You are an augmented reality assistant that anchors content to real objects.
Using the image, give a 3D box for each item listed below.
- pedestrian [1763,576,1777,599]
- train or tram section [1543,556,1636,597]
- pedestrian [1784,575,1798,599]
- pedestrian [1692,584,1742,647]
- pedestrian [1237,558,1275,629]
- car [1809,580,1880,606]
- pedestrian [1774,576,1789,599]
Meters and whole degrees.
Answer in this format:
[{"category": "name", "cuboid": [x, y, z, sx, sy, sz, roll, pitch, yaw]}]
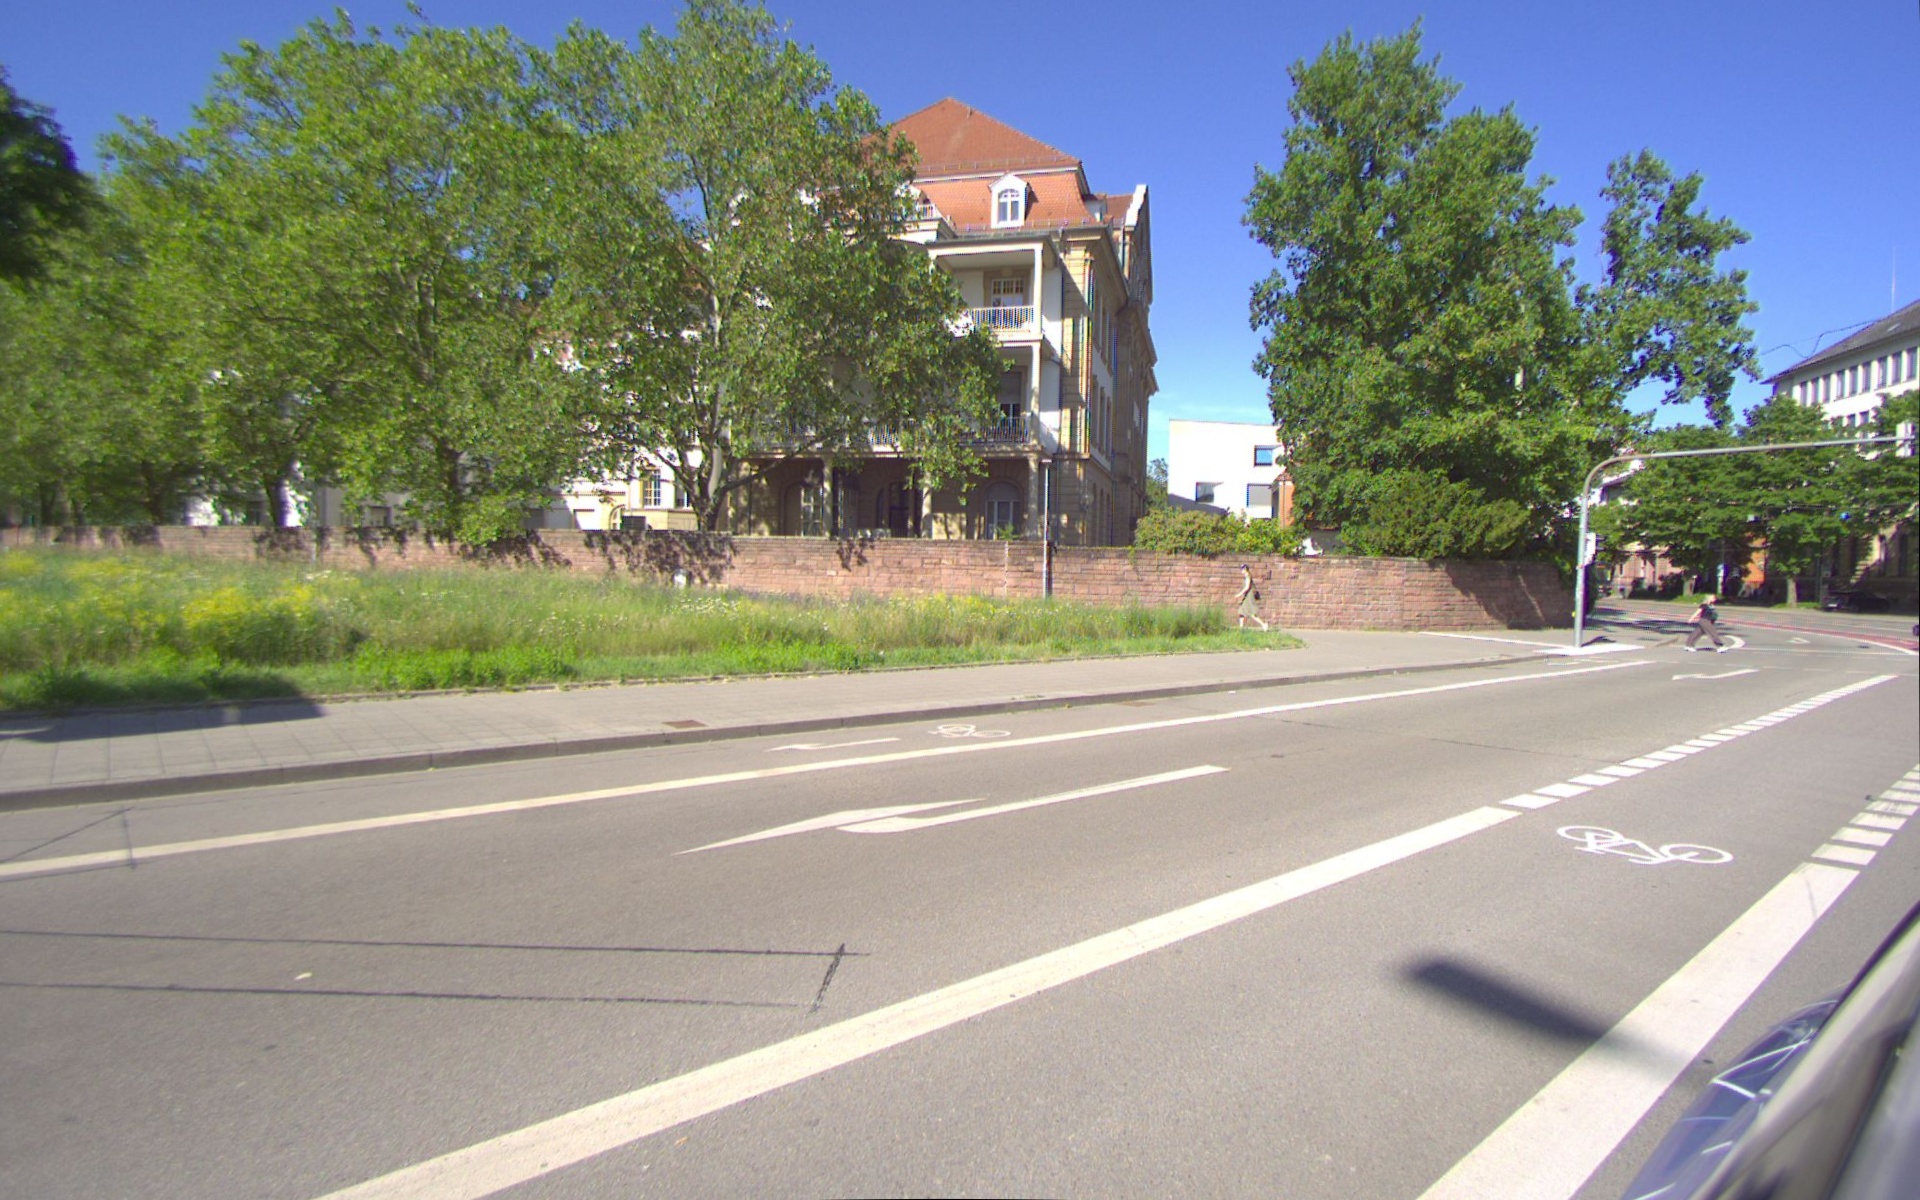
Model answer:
[{"category": "pedestrian", "cuboid": [67.575, -1.062, 84.407, 0.568, 1.927, 0.781, 1, 1, 12]}, {"category": "train or tram section", "cuboid": [59.282, -2.289, 95.871, 2.896, 3.563, 13.792, 2, 2, 12]}, {"category": "pedestrian", "cuboid": [69.343, -1.072, 84.455, 0.568, 1.927, 0.849, 1, 1, 12]}, {"category": "pedestrian", "cuboid": [21.006, 0.407, 28.082, 0.619, 1.687, 0.932, 0, 2, -38]}, {"category": "pedestrian", "cuboid": [7.964, -0.192, 27.243, 0.772, 1.881, 0.631, 1, 1, -3]}, {"category": "car", "cuboid": [60.237, -0.517, 69.013, 1.806, 1.615, 3.988, 2, 2, 11]}, {"category": "pedestrian", "cuboid": [68.339, -1.064, 84.167, 0.568, 1.927, 0.849, 1, 1, 12]}]
